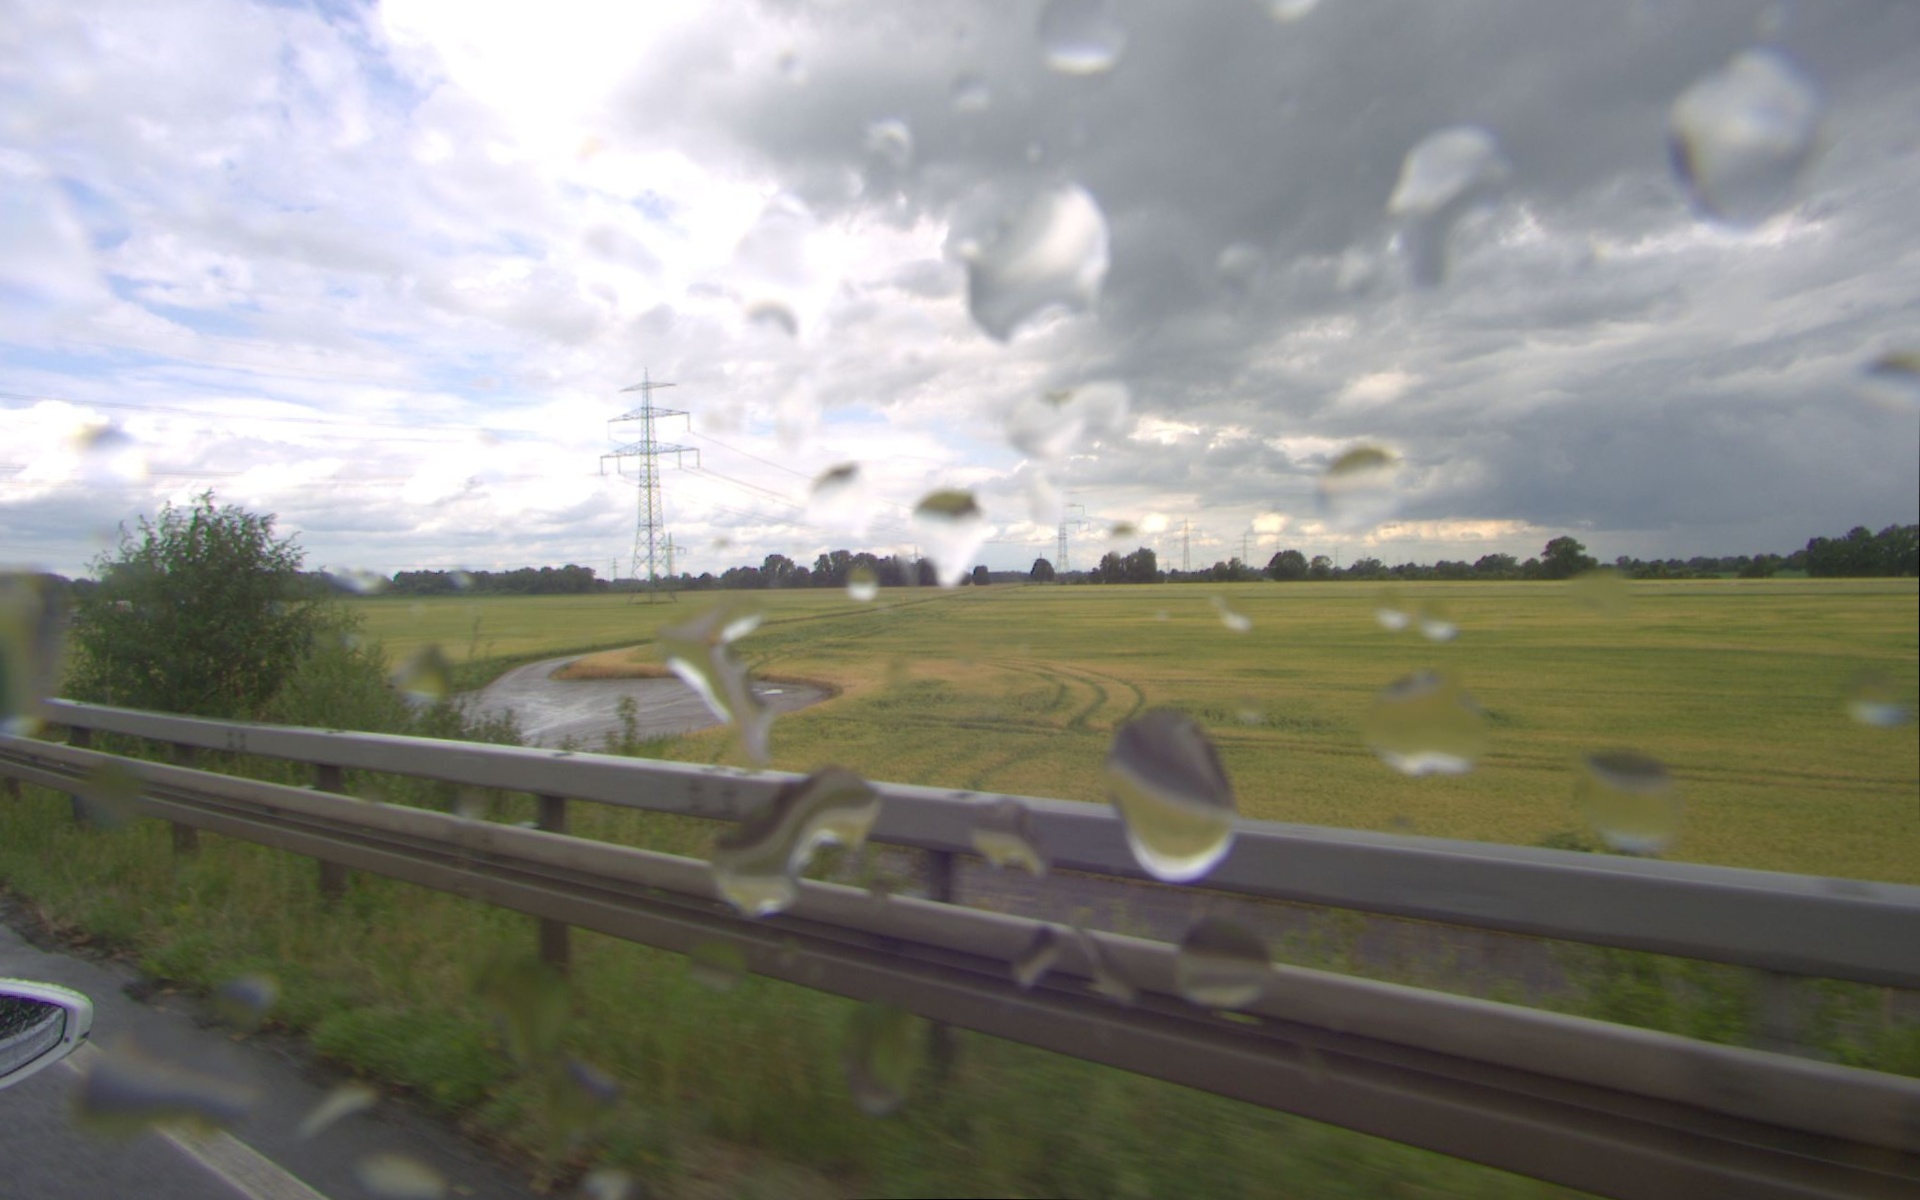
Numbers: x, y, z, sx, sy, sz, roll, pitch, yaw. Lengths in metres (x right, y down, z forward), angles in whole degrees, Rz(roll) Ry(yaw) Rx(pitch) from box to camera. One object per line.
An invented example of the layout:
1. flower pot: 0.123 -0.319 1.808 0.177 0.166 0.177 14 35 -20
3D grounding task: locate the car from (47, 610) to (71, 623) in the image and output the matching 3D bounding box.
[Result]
1. car: -150.481 2.758 167.275 2.200 2.039 3.982 0 -2 -29

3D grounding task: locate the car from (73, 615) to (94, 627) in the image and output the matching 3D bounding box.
1. car: -154.523 3.719 176.548 1.970 2.039 3.982 0 -2 -29

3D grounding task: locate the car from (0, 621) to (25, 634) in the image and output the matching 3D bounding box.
1. car: -143.923 4.188 151.912 1.970 2.039 3.983 0 -2 -28

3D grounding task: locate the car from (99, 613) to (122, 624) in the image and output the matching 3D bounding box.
1. car: -157.509 3.433 185.718 1.966 2.039 3.992 0 -2 -19
